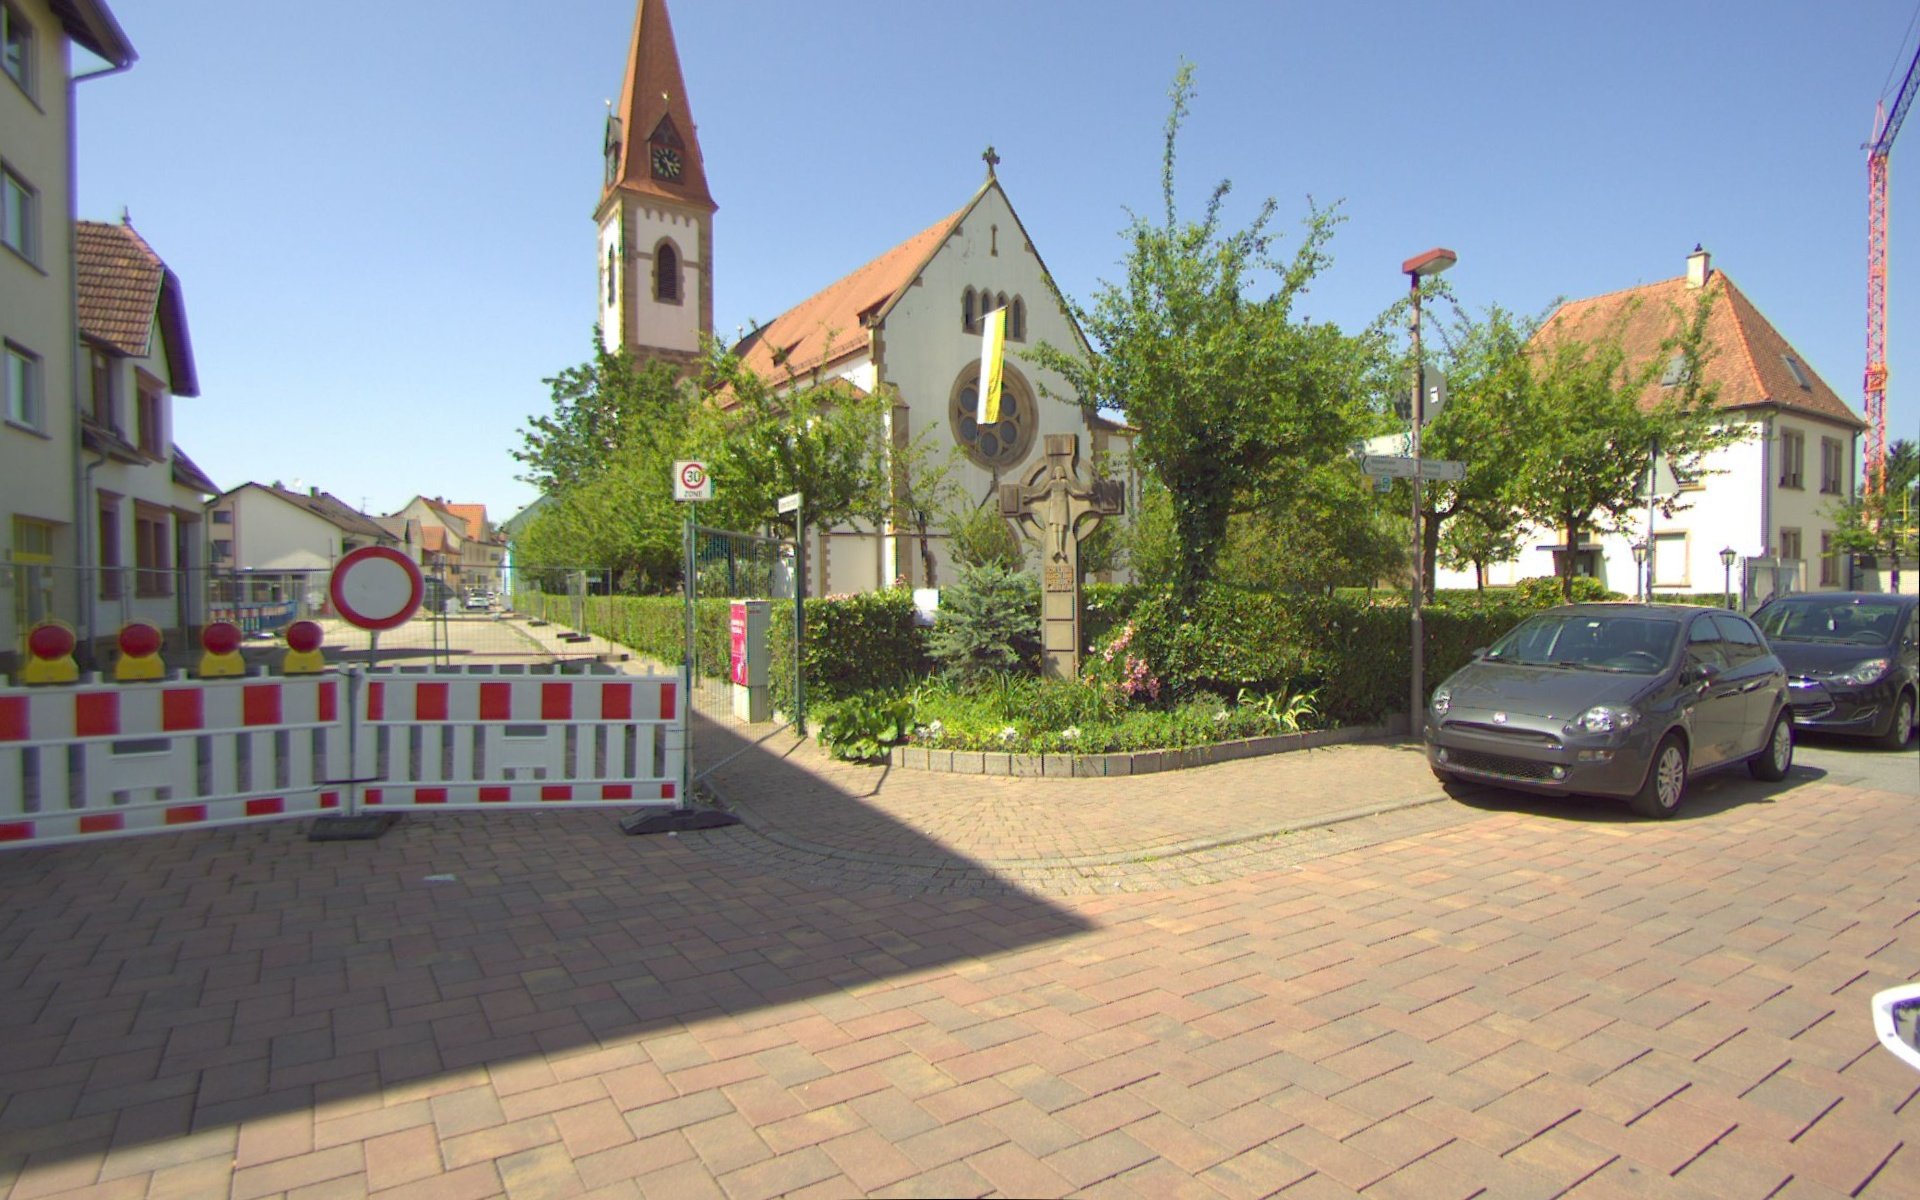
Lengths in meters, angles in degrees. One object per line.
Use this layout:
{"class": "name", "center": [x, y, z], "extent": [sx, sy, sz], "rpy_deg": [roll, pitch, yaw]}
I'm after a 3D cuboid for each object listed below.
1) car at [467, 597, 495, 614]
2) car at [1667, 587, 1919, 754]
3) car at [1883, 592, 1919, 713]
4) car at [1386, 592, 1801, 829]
{"class": "car", "center": [-42.101, 0.448, 88.253], "extent": [1.794, 1.483, 3.912], "rpy_deg": [0, 0, -31]}
{"class": "car", "center": [10.111, 0.663, 11.618], "extent": [3.980, 1.626, 1.805], "rpy_deg": [-1, 1, -33]}
{"class": "car", "center": [14.971, 0.711, 14.516], "extent": [3.729, 1.650, 1.627], "rpy_deg": [-1, 1, -35]}
{"class": "car", "center": [5.346, 0.698, 8.324], "extent": [3.821, 1.517, 1.690], "rpy_deg": [-1, 1, -37]}
